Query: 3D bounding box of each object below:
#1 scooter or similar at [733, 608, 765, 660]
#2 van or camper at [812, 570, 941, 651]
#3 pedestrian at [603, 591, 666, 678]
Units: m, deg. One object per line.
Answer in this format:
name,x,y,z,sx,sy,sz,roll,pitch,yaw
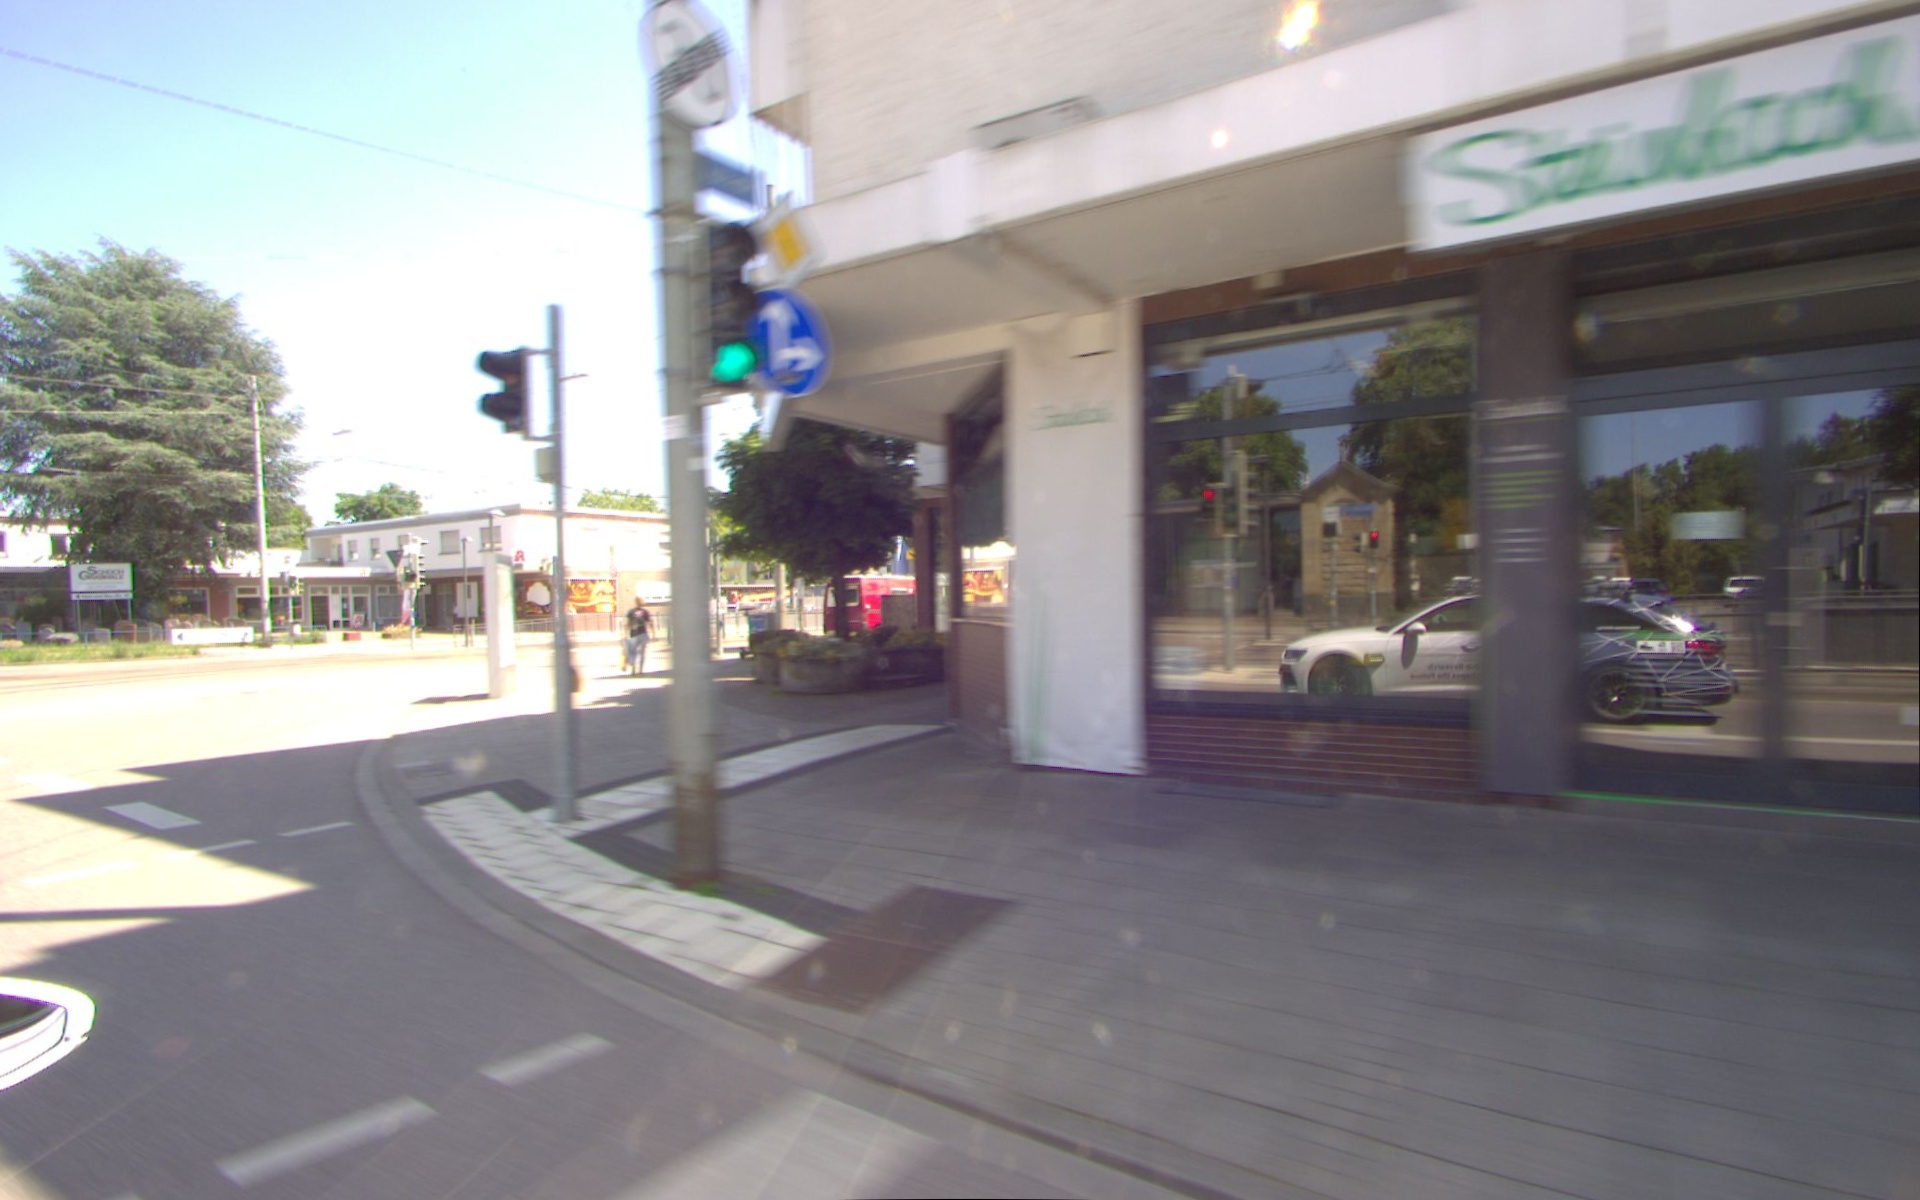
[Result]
scooter or similar,-5.180,0.823,24.650,0.387,1.229,1.255,-1,0,6
van or camper,-3.036,0.354,37.761,2.176,2.802,5.213,0,0,31
pedestrian,-6.348,0.648,19.543,0.819,1.605,0.819,-6,4,-41
